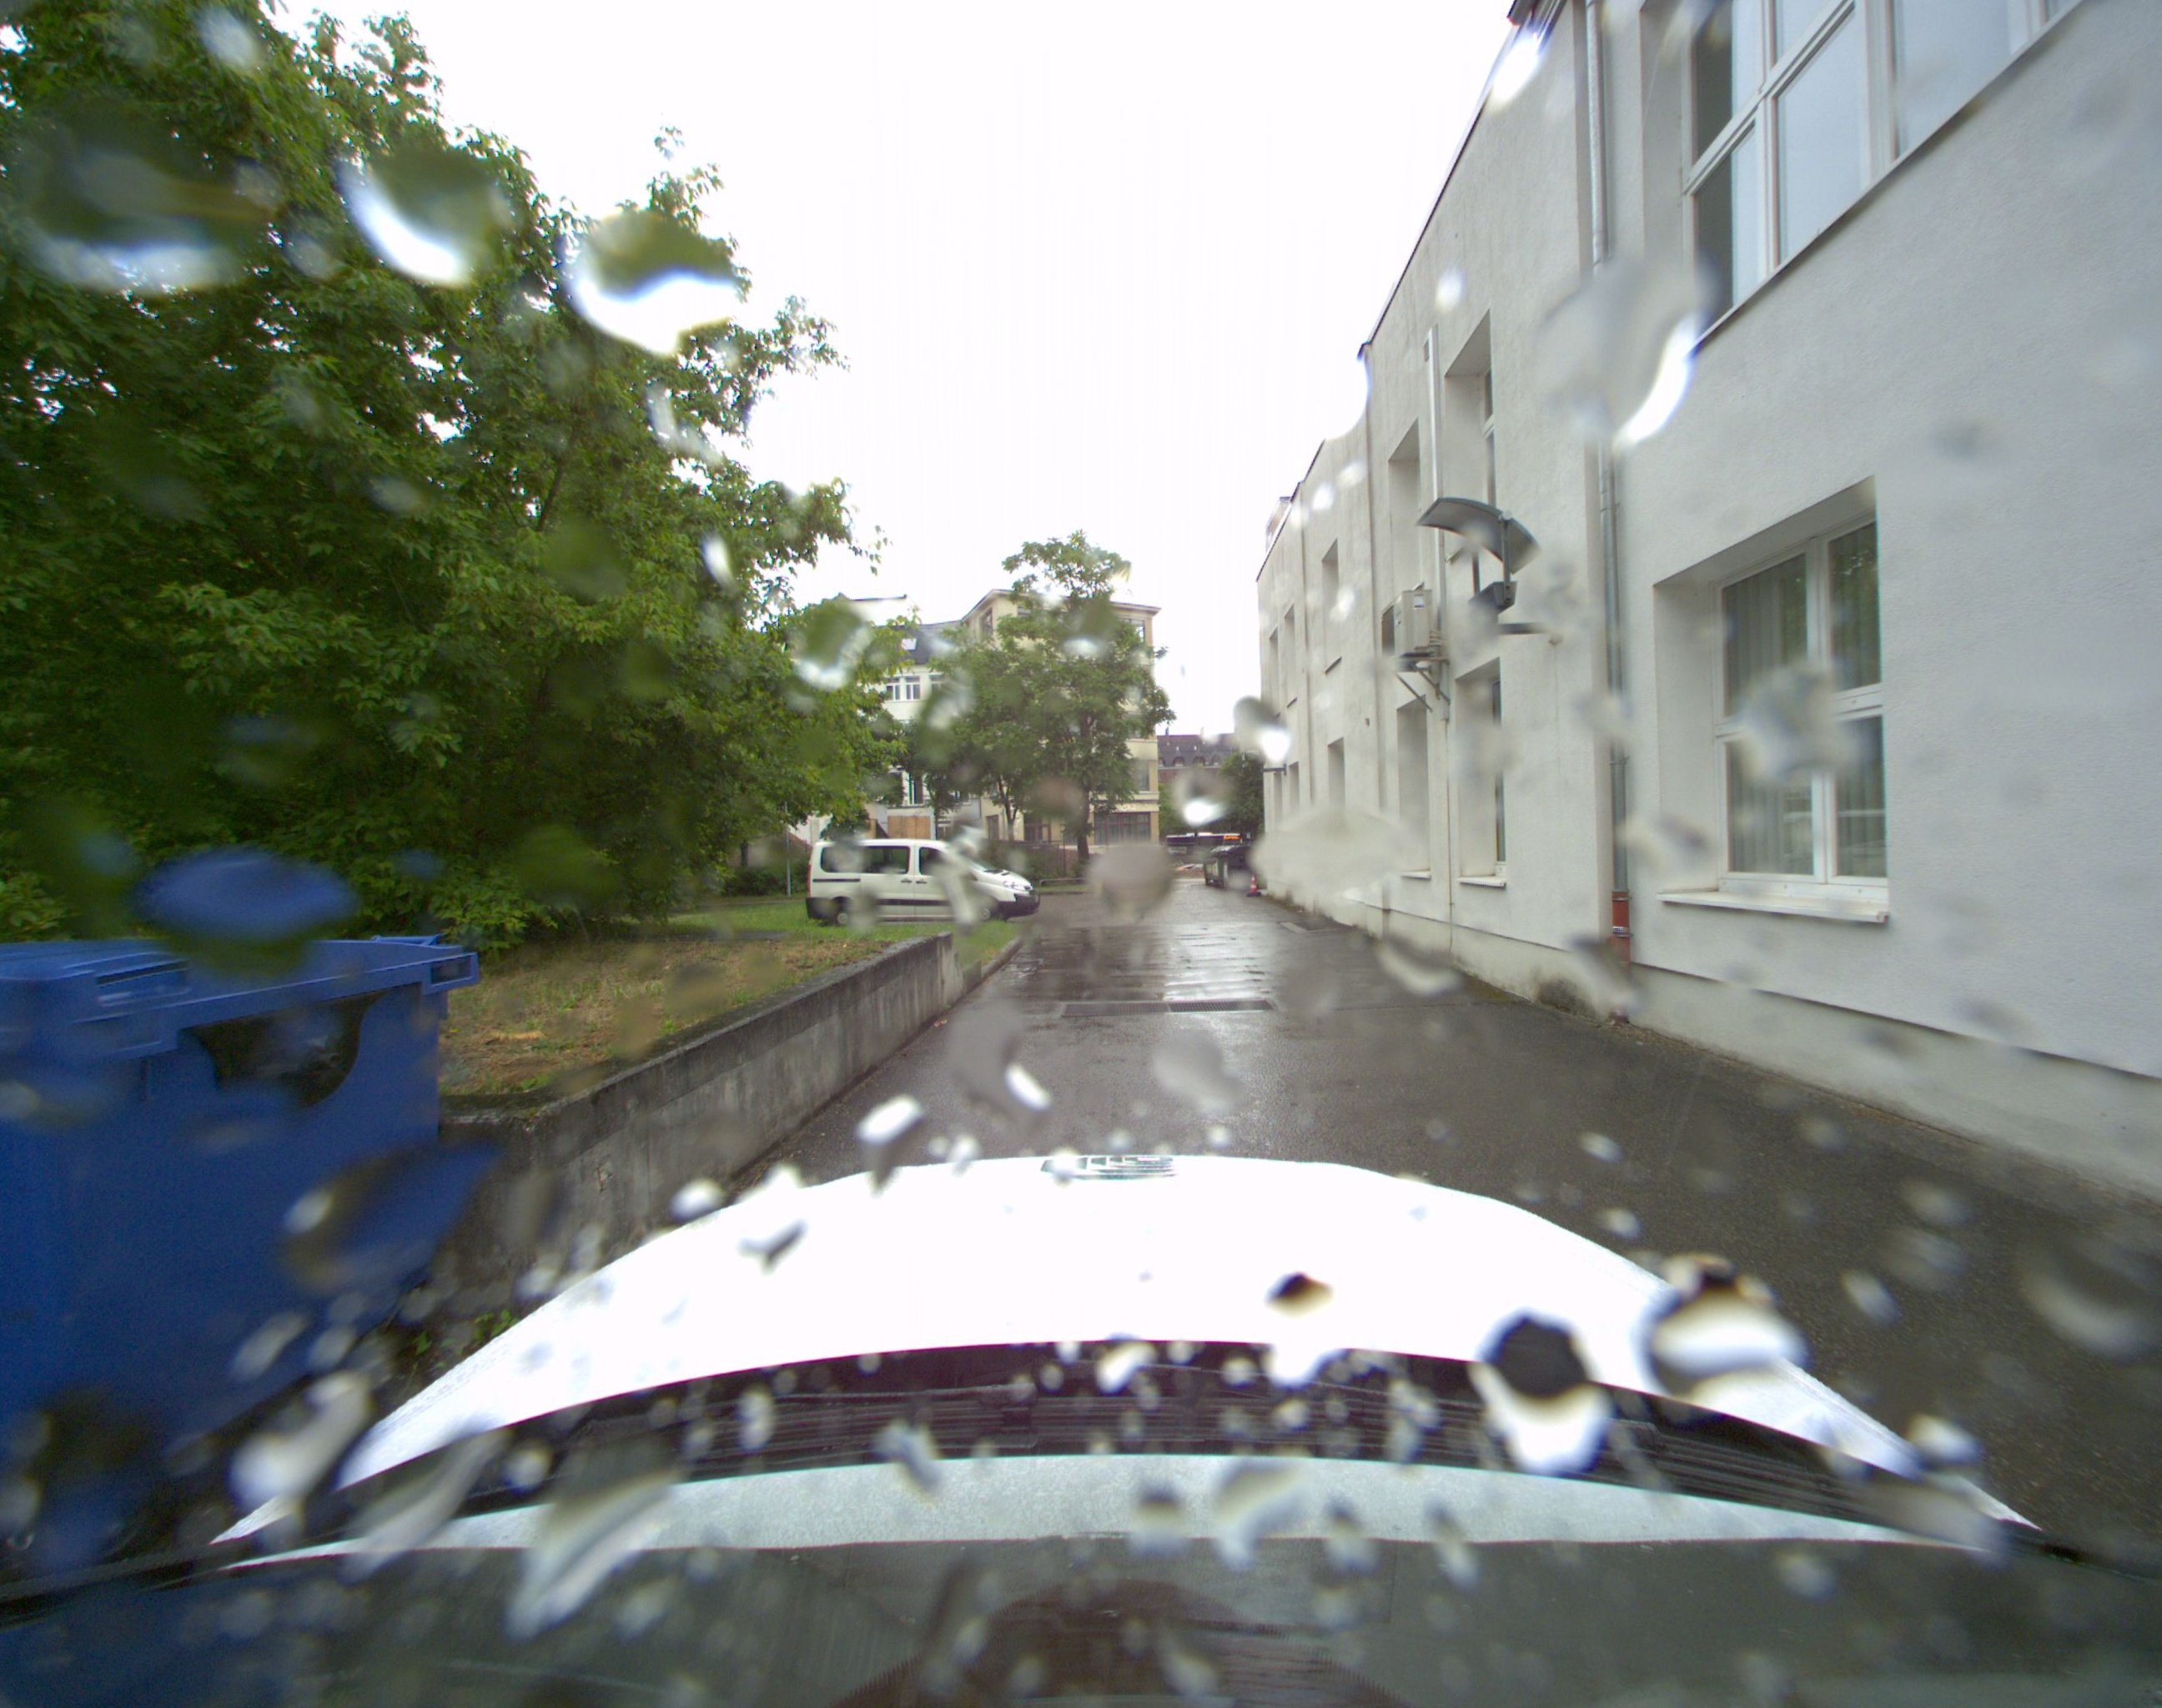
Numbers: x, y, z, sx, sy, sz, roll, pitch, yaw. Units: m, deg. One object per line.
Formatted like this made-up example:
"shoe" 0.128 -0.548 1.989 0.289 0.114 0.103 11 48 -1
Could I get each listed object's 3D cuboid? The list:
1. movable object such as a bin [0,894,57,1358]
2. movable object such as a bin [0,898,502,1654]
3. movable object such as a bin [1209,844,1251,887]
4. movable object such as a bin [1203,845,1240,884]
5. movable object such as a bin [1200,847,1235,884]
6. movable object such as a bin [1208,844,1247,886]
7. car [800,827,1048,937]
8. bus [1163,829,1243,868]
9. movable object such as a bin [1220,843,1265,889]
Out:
"movable object such as a bin" -3.787 0.819 2.004 1.216 1.337 1.008 -2 1 4
"movable object such as a bin" -2.459 0.831 2.050 1.216 1.337 1.008 -2 0 4
"movable object such as a bin" 5.128 0.403 28.104 1.210 1.437 1.295 -2 -2 2
"movable object such as a bin" 5.357 0.423 31.109 1.210 1.437 1.259 -2 -2 2
"movable object such as a bin" 5.426 0.468 32.486 1.210 1.437 1.259 -2 -2 2
"movable object such as a bin" 5.329 0.412 29.731 1.210 1.468 1.236 -2 -2 2
"car" -3.248 0.565 17.530 4.758 2.013 2.003 -3 1 4
"bus" 13.753 -0.560 93.403 2.821 3.874 11.953 0 -2 -26
"movable object such as a bin" 5.230 0.393 26.403 1.210 1.437 1.236 -2 -2 2
